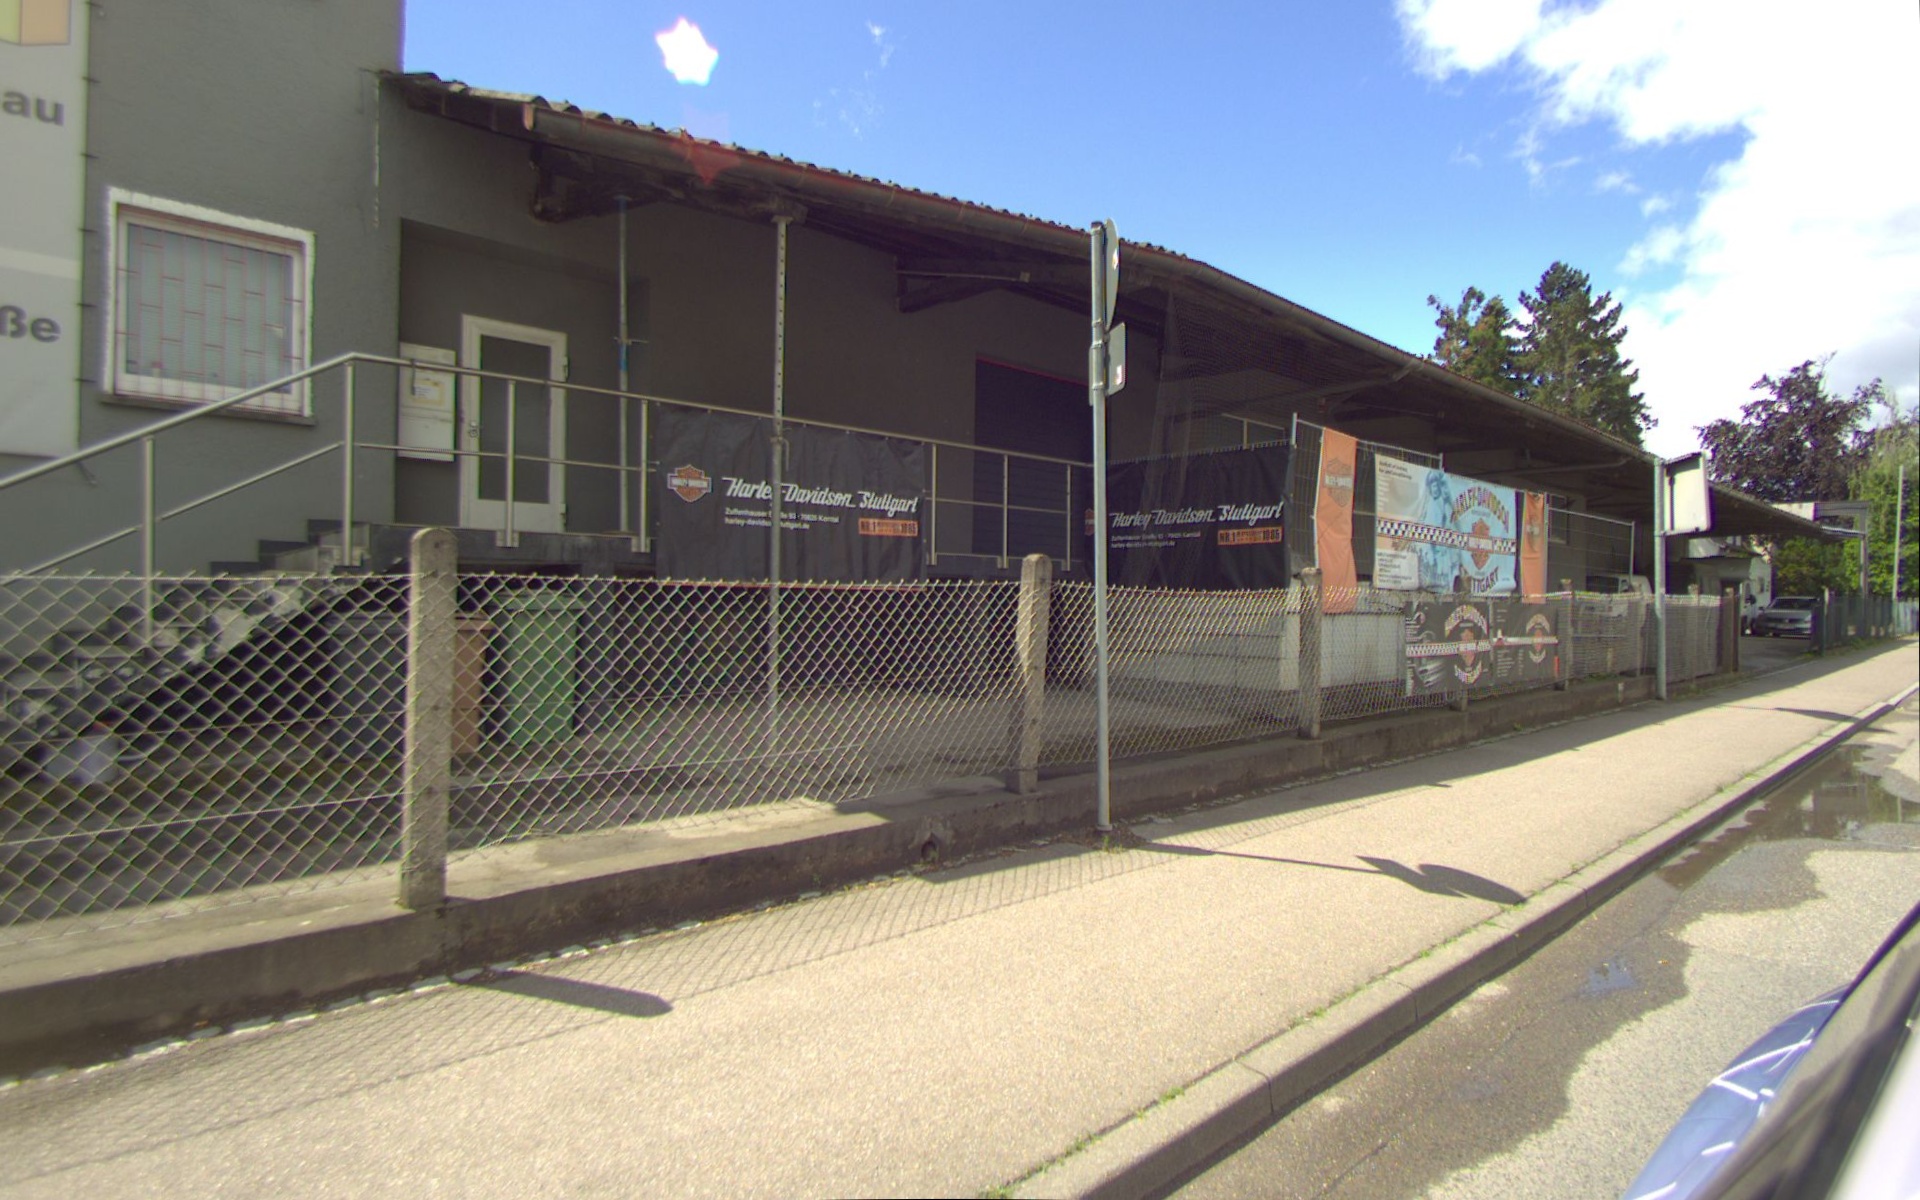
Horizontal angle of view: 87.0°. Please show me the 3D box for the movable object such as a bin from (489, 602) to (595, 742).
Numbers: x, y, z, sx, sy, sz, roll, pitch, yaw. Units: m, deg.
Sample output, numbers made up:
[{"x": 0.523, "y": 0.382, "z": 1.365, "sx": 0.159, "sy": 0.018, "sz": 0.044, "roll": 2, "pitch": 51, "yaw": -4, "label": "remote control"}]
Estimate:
[{"x": -2.996, "y": 0.491, "z": 7.256, "sx": 0.574, "sy": 0.942, "sz": 0.482, "roll": 0, "pitch": 0, "yaw": -42, "label": "movable object such as a bin"}]

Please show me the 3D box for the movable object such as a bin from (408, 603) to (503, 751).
[{"x": -3.421, "y": 0.497, "z": 6.865, "sx": 0.466, "sy": 0.942, "sz": 0.482, "roll": 0, "pitch": 0, "yaw": -42, "label": "movable object such as a bin"}]

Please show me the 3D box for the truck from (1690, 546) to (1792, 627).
[{"x": 29.532, "y": -0.518, "z": 38.220, "sx": 5.112, "sy": 2.864, "sz": 2.089, "roll": -1, "pitch": 0, "yaw": -41, "label": "truck"}]

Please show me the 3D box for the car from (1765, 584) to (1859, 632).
[{"x": 29.878, "y": 0.222, "z": 35.431, "sx": 5.114, "sy": 1.549, "sz": 1.860, "roll": -1, "pitch": 1, "yaw": -42, "label": "car"}]

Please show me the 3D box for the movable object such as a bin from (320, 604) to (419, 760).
[{"x": -3.804, "y": 0.502, "z": 6.515, "sx": 0.466, "sy": 0.942, "sz": 0.482, "roll": 0, "pitch": 0, "yaw": -42, "label": "movable object such as a bin"}]
